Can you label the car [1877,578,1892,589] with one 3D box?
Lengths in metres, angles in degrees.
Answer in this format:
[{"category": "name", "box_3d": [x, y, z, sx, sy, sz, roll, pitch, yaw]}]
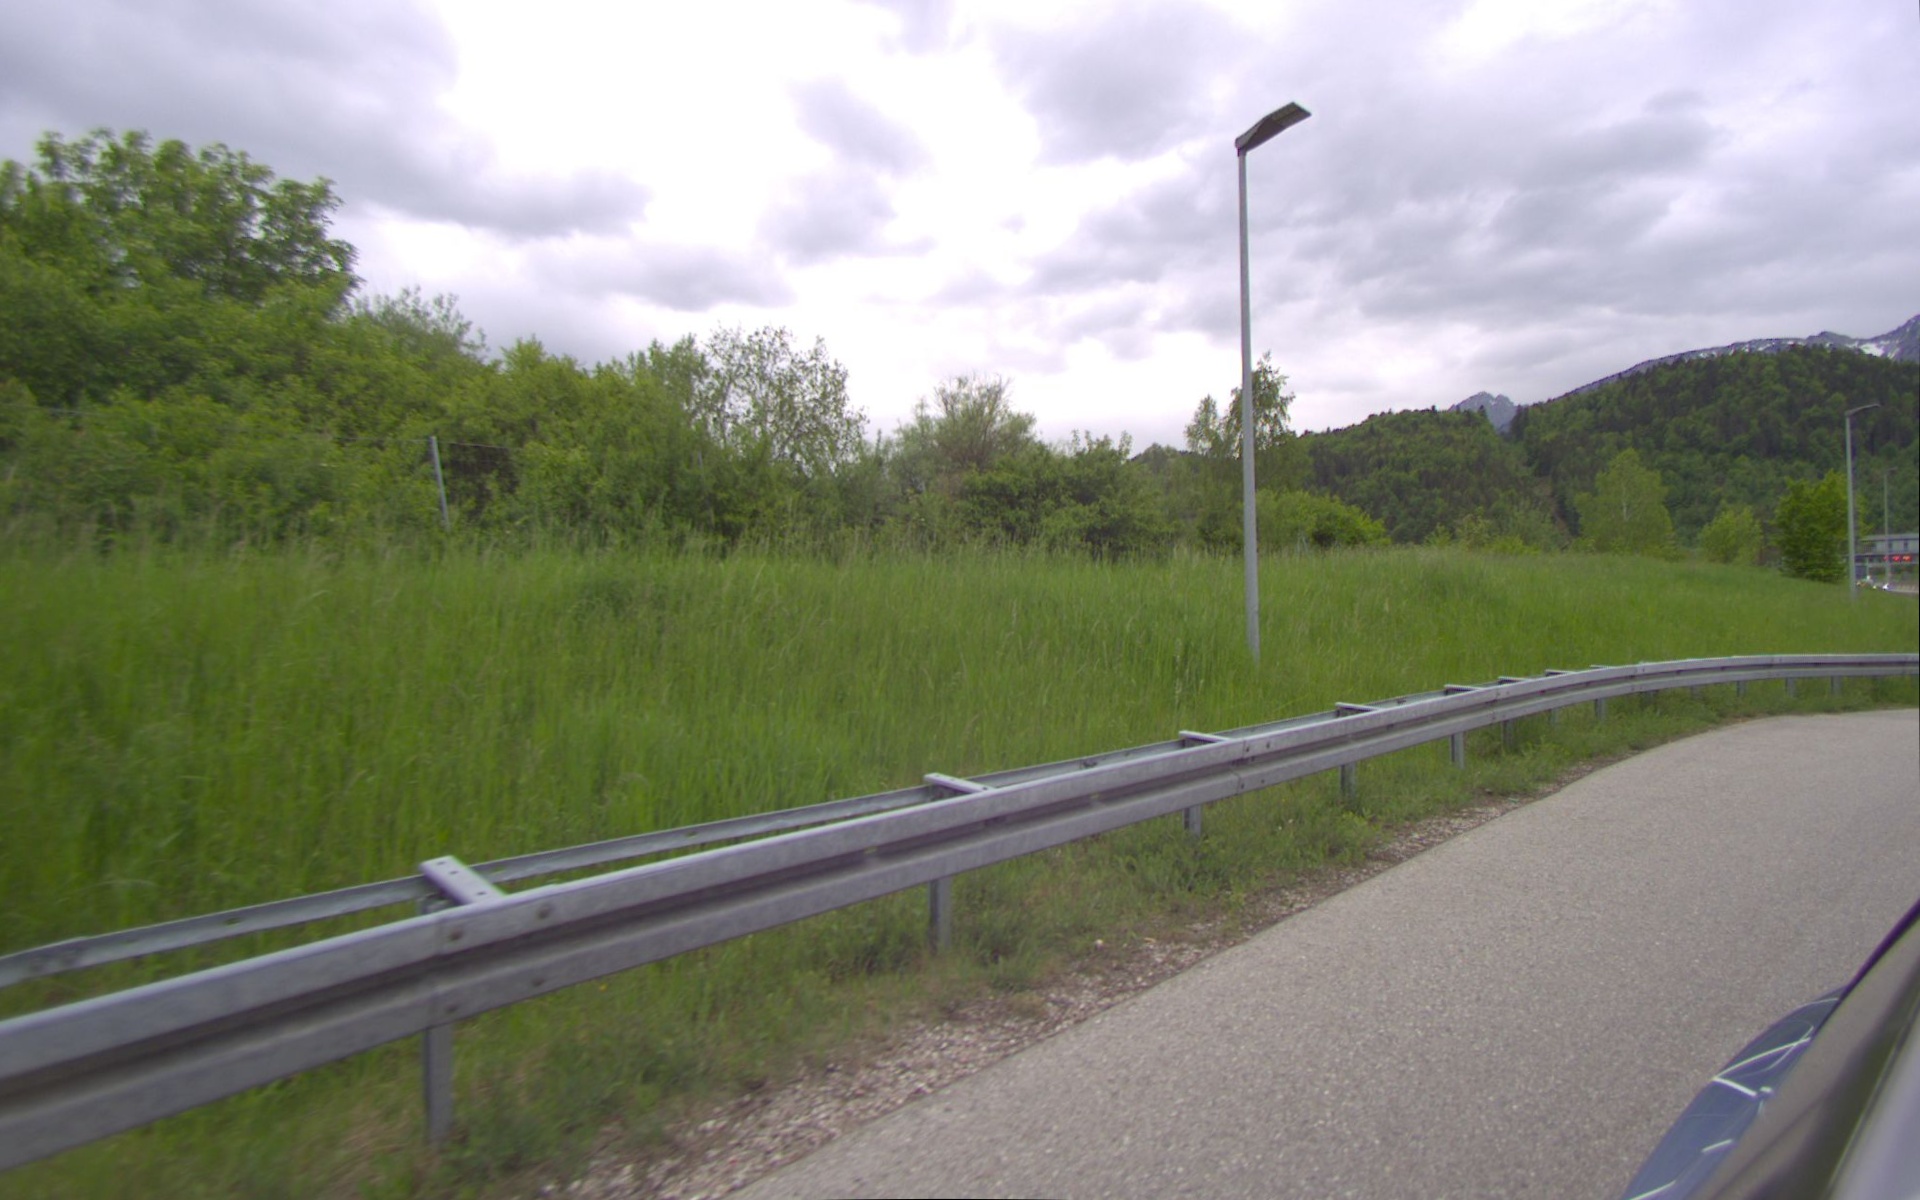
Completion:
[{"category": "car", "box_3d": [156.997, -2.810, 171.873, 1.730, 1.677, 3.943, 1, 1, 39]}]
